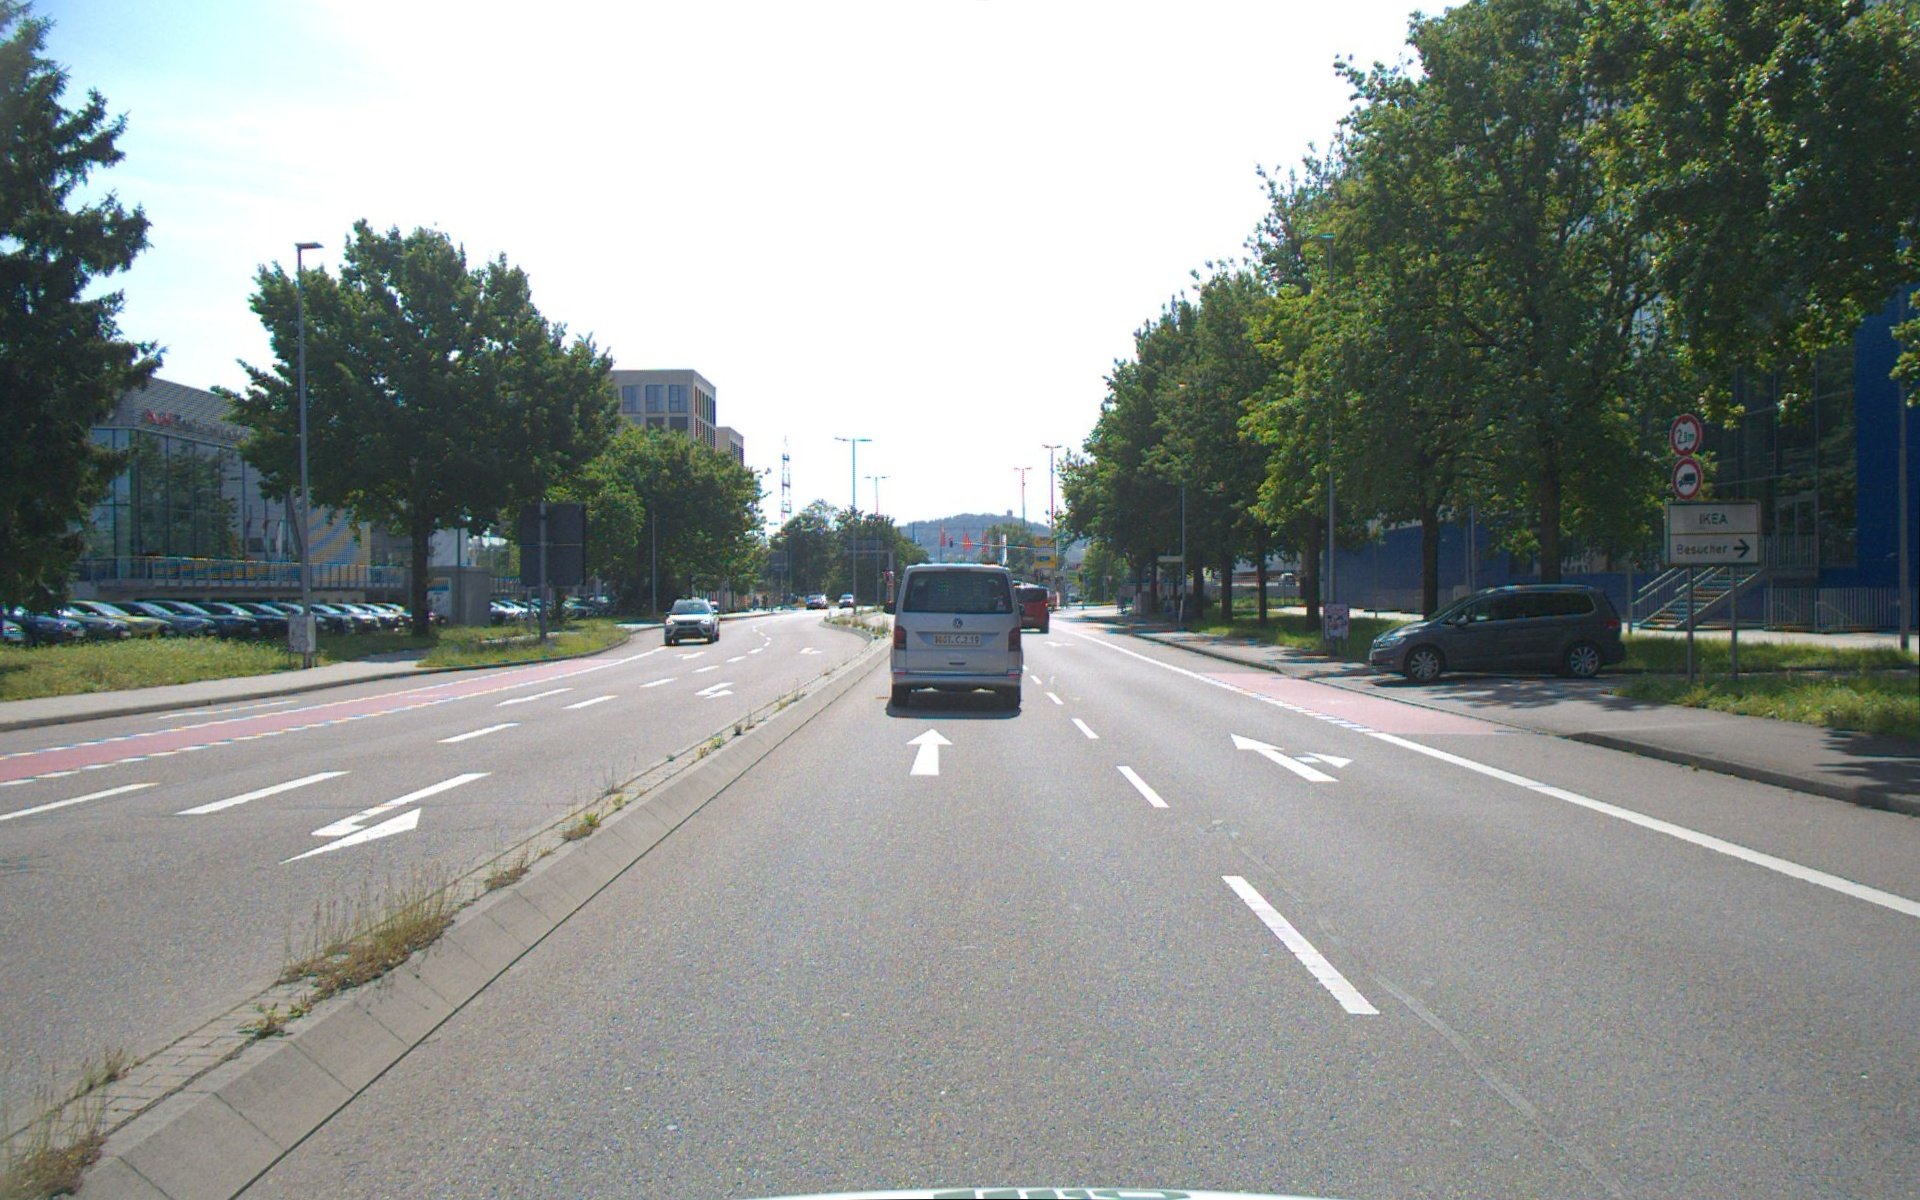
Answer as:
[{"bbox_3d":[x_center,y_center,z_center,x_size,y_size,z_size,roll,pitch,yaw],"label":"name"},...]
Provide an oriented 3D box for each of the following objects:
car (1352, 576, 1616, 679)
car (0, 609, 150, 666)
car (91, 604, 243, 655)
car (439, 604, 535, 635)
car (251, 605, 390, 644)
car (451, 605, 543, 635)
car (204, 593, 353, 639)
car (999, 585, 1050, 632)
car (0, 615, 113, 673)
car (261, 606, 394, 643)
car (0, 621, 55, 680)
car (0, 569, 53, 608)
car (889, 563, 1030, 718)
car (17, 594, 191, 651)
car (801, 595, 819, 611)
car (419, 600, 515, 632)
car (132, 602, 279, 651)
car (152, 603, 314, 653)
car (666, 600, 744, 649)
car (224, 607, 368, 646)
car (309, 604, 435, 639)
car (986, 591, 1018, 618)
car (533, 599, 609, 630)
[{"bbox_3d":[9.645,0.496,30.724,4.350,1.723,1.846,-2,0,6],"label":"car"},{"bbox_3d":[-23.512,0.981,43.353,3.667,1.307,1.662,-3,0,-3],"label":"car"},{"bbox_3d":[-23.418,0.844,48.942,3.522,1.307,1.864,-3,0,-3],"label":"car"},{"bbox_3d":[-23.294,0.937,81.507,4.091,1.176,2.086,-4,0,-3],"label":"car"},{"bbox_3d":[-23.765,0.899,61.578,4.409,1.312,1.919,-1,0,-3],"label":"car"},{"bbox_3d":[-23.602,1.012,84.471,4.091,1.211,1.954,-4,0,-3],"label":"car"},{"bbox_3d":[-23.763,0.538,57.789,4.409,1.502,1.919,-1,0,-3],"label":"car"},{"bbox_3d":[2.794,0.347,72.738,1.928,2.002,5.124,1,0,-1],"label":"car"},{"bbox_3d":[-23.379,1.125,41.270,3.522,1.307,1.744,-3,0,-3],"label":"car"},{"bbox_3d":[-24.084,0.911,63.055,4.409,1.312,1.691,-1,0,-3],"label":"car"},{"bbox_3d":[-23.433,1.156,38.502,3.715,1.307,1.744,1,0,-3],"label":"car"},{"bbox_3d":[-38.938,-0.488,65.906,4.427,1.522,1.986,1,0,-1],"label":"car"},{"bbox_3d":[-0.021,0.527,23.910,1.846,2.025,4.000,1,0,-1],"label":"car"},{"bbox_3d":[-23.685,0.602,45.883,3.809,1.364,1.839,-3,0,-3],"label":"car"},{"bbox_3d":[-16.305,0.348,180.098,1.704,1.646,4.207,-3,0,-3],"label":"car"},{"bbox_3d":[-23.228,0.747,78.037,3.908,1.176,1.896,-4,0,-3],"label":"car"},{"bbox_3d":[-23.445,0.813,51.507,3.606,1.307,1.985,-3,0,-3],"label":"car"},{"bbox_3d":[-23.817,0.900,54.276,4.409,1.502,1.979,-1,0,-3],"label":"car"},{"bbox_3d":[-9.304,0.878,60.690,1.952,1.646,4.106,-2,0,3],"label":"car"},{"bbox_3d":[-23.867,0.946,59.569,4.409,1.312,1.919,-1,0,-3],"label":"car"},{"bbox_3d":[-23.799,0.862,67.080,4.409,1.312,1.919,-1,0,-3],"label":"car"},{"bbox_3d":[2.444,0.253,97.025,1.711,1.484,4.475,1,0,-1],"label":"car"},{"bbox_3d":[-22.962,0.839,97.686,3.906,1.467,2.000,-4,0,0],"label":"car"}]
